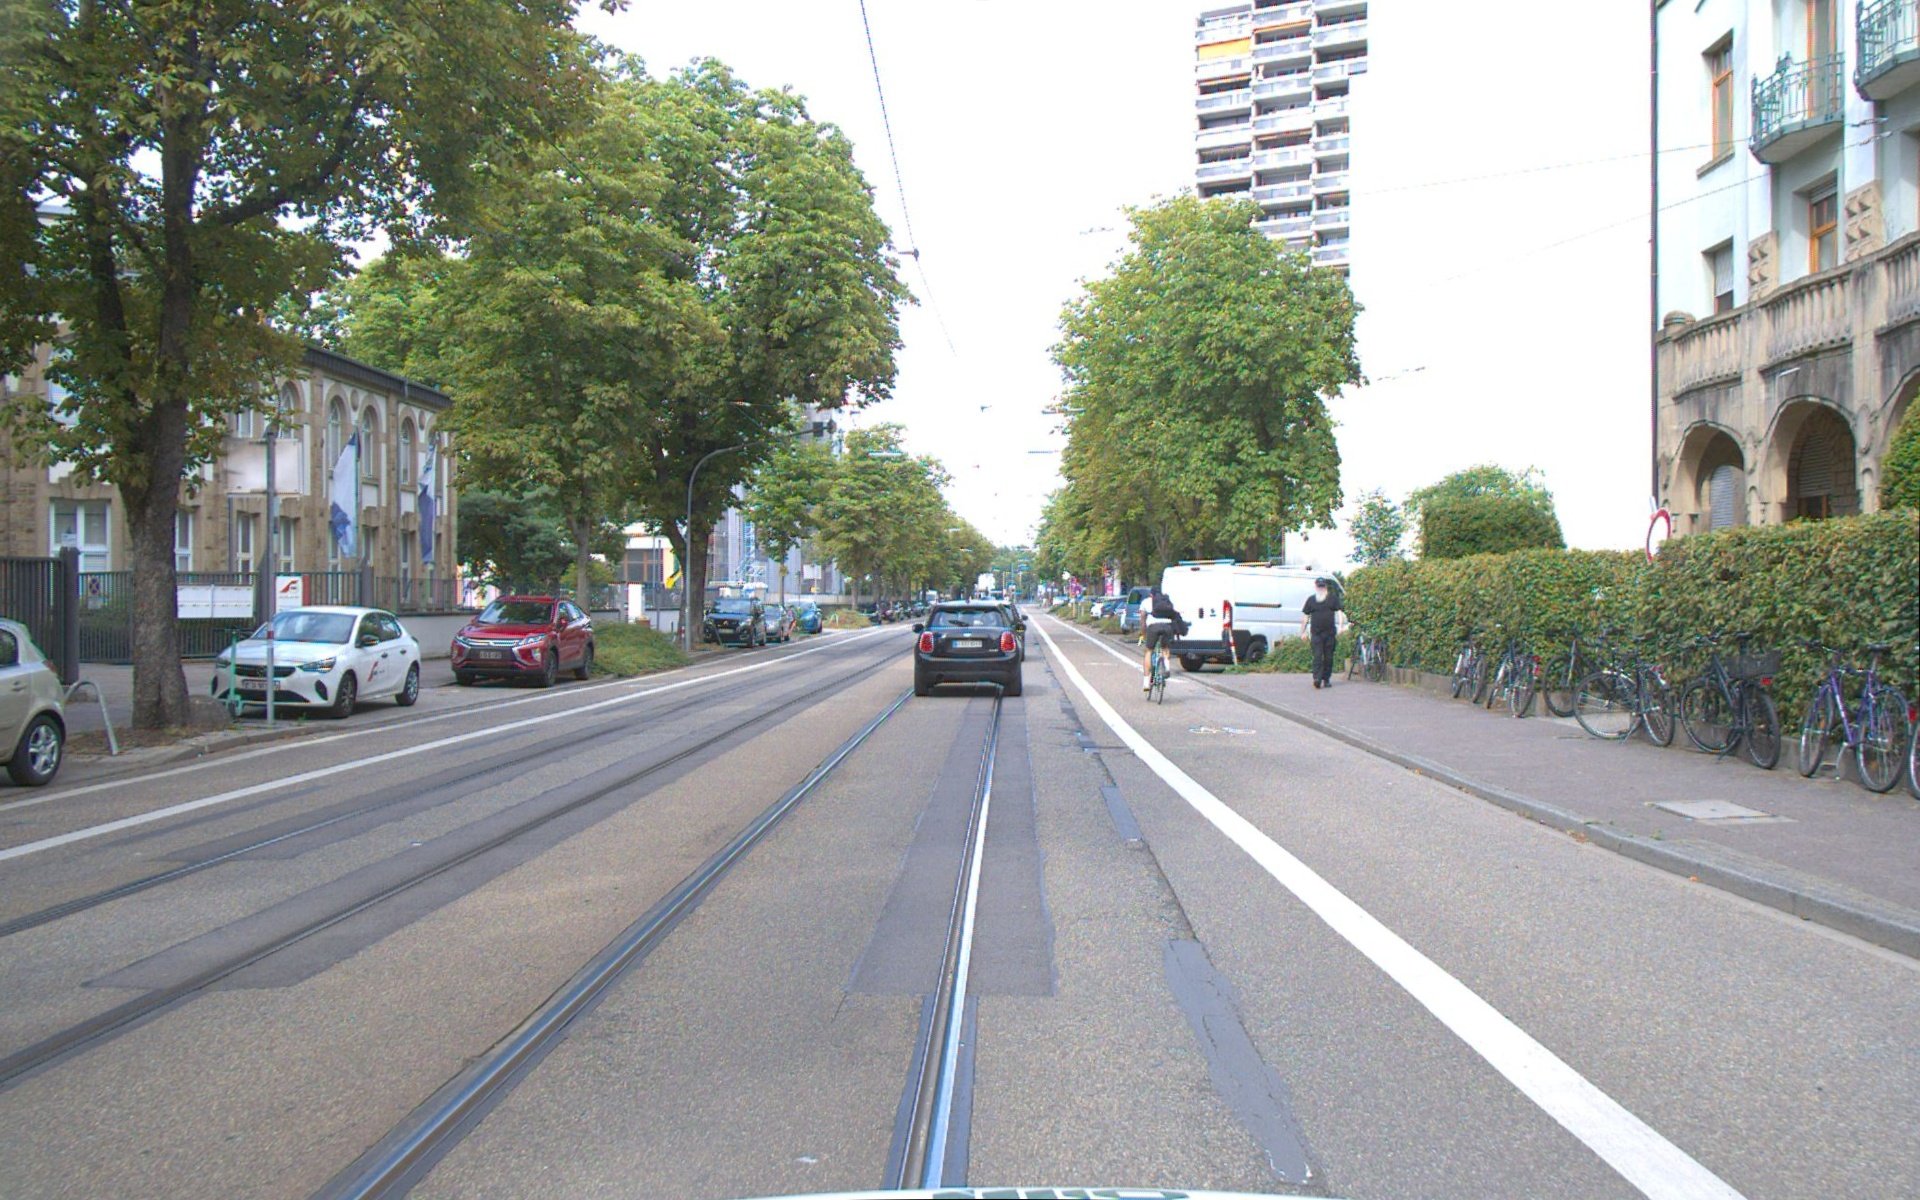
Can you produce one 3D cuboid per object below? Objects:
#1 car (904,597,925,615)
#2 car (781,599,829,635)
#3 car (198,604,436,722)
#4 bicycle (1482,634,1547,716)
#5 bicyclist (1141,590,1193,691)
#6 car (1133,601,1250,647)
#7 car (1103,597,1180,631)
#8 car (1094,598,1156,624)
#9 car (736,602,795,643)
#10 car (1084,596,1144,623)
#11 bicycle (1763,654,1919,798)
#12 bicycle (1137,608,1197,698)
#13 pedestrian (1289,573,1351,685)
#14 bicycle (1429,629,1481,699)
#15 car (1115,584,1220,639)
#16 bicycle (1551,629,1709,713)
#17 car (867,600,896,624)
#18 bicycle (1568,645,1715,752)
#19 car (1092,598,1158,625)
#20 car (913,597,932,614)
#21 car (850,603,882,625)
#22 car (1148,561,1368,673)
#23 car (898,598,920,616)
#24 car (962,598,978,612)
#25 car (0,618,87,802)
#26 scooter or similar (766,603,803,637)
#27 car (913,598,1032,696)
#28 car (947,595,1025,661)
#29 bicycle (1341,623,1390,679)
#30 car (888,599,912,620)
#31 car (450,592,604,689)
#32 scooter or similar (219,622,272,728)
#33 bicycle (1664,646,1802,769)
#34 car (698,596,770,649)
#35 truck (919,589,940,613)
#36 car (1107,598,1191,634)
[{"bbox_3d":[-4.270,0.595,156.534,1.765,1.611,4.032,-1,0,1],"label":"car"},{"bbox_3d":[-6.843,0.722,73.355,1.658,1.513,3.678,1,0,1],"label":"car"},{"bbox_3d":[-8.936,0.814,23.356,1.686,1.448,4.024,2,0,1],"label":"car"},{"bbox_3d":[6.752,0.894,20.190,0.378,0.923,1.666,-1,-1,6],"label":"bicycle"},{"bbox_3d":[3.107,0.593,24.904,0.644,1.489,1.178,1,0,1],"label":"bicyclist"},{"bbox_3d":[7.623,0.765,54.362,3.940,1.458,1.664,1,0,-41],"label":"car"},{"bbox_3d":[8.490,0.629,77.205,3.710,1.549,1.614,1,0,-44],"label":"car"},{"bbox_3d":[9.380,0.597,93.807,3.411,1.468,1.539,0,0,-37],"label":"car"},{"bbox_3d":[-7.205,0.800,61.586,1.658,1.452,3.869,1,0,1],"label":"car"},{"bbox_3d":[9.021,0.548,96.829,3.411,1.600,1.539,0,0,-37],"label":"car"},{"bbox_3d":[6.481,0.883,12.064,0.475,0.923,1.665,-1,-1,2],"label":"bicycle"},{"bbox_3d":[3.111,0.773,25.024,0.644,1.271,2.125,1,0,1],"label":"bicycle"},{"bbox_3d":[5.869,0.463,26.999,0.769,1.763,0.896,-3,0,1],"label":"pedestrian"},{"bbox_3d":[6.923,0.883,23.178,0.378,0.923,1.666,-1,-1,6],"label":"bicycle"},{"bbox_3d":[8.065,0.431,64.075,4.242,2.050,1.802,1,0,-44],"label":"car"},{"bbox_3d":[7.815,0.823,19.328,1.625,0.923,0.487,-1,-1,0],"label":"bicycle"},{"bbox_3d":[-5.575,0.831,117.744,1.765,1.611,4.032,-1,0,1],"label":"car"},{"bbox_3d":[6.459,0.911,15.764,0.477,0.923,1.661,-1,-1,-9],"label":"bicycle"},{"bbox_3d":[9.048,0.610,90.690,3.498,1.468,1.602,0,0,-37],"label":"car"},{"bbox_3d":[-3.798,0.553,167.935,1.765,1.611,4.032,-1,0,1],"label":"car"},{"bbox_3d":[-6.084,0.900,107.132,1.765,1.398,4.032,-1,0,1],"label":"car"},{"bbox_3d":[6.701,0.372,36.910,4.915,2.330,2.349,1,0,-42],"label":"car"},{"bbox_3d":[-4.530,0.623,147.404,1.765,1.611,4.032,-1,0,1],"label":"car"},{"bbox_3d":[1.123,0.570,185.185,1.797,1.473,4.554,0,0,1],"label":"car"},{"bbox_3d":[-8.689,0.913,12.842,1.567,1.494,4.080,0,0,1],"label":"car"},{"bbox_3d":[-7.327,0.846,69.186,1.413,1.367,0.700,-1,0,3],"label":"scooter or similar"},{"bbox_3d":[0.166,0.694,26.608,1.757,1.448,3.999,1,0,-1],"label":"car"},{"bbox_3d":[0.608,0.662,41.122,1.757,1.496,3.999,2,0,-1],"label":"car"},{"bbox_3d":[6.965,0.858,28.449,0.378,0.923,1.842,-1,-1,0],"label":"bicycle"},{"bbox_3d":[-4.978,0.783,137.345,1.765,1.611,4.032,-1,0,1],"label":"car"},{"bbox_3d":[-8.287,0.727,32.060,1.686,1.684,4.543,2,0,1],"label":"car"},{"bbox_3d":[-8.867,0.907,20.551,0.553,1.244,1.315,0,0,-21],"label":"scooter or similar"},{"bbox_3d":[6.441,0.871,13.852,0.475,0.923,1.666,-1,-1,5],"label":"bicycle"},{"bbox_3d":[-7.420,0.715,54.690,1.719,1.676,4.053,1,0,1],"label":"car"},{"bbox_3d":[-3.361,0.076,181.031,2.028,2.513,4.899,-1,0,1],"label":"truck"},{"bbox_3d":[8.048,0.686,70.272,1.613,1.485,3.802,0,0,44],"label":"car"}]
